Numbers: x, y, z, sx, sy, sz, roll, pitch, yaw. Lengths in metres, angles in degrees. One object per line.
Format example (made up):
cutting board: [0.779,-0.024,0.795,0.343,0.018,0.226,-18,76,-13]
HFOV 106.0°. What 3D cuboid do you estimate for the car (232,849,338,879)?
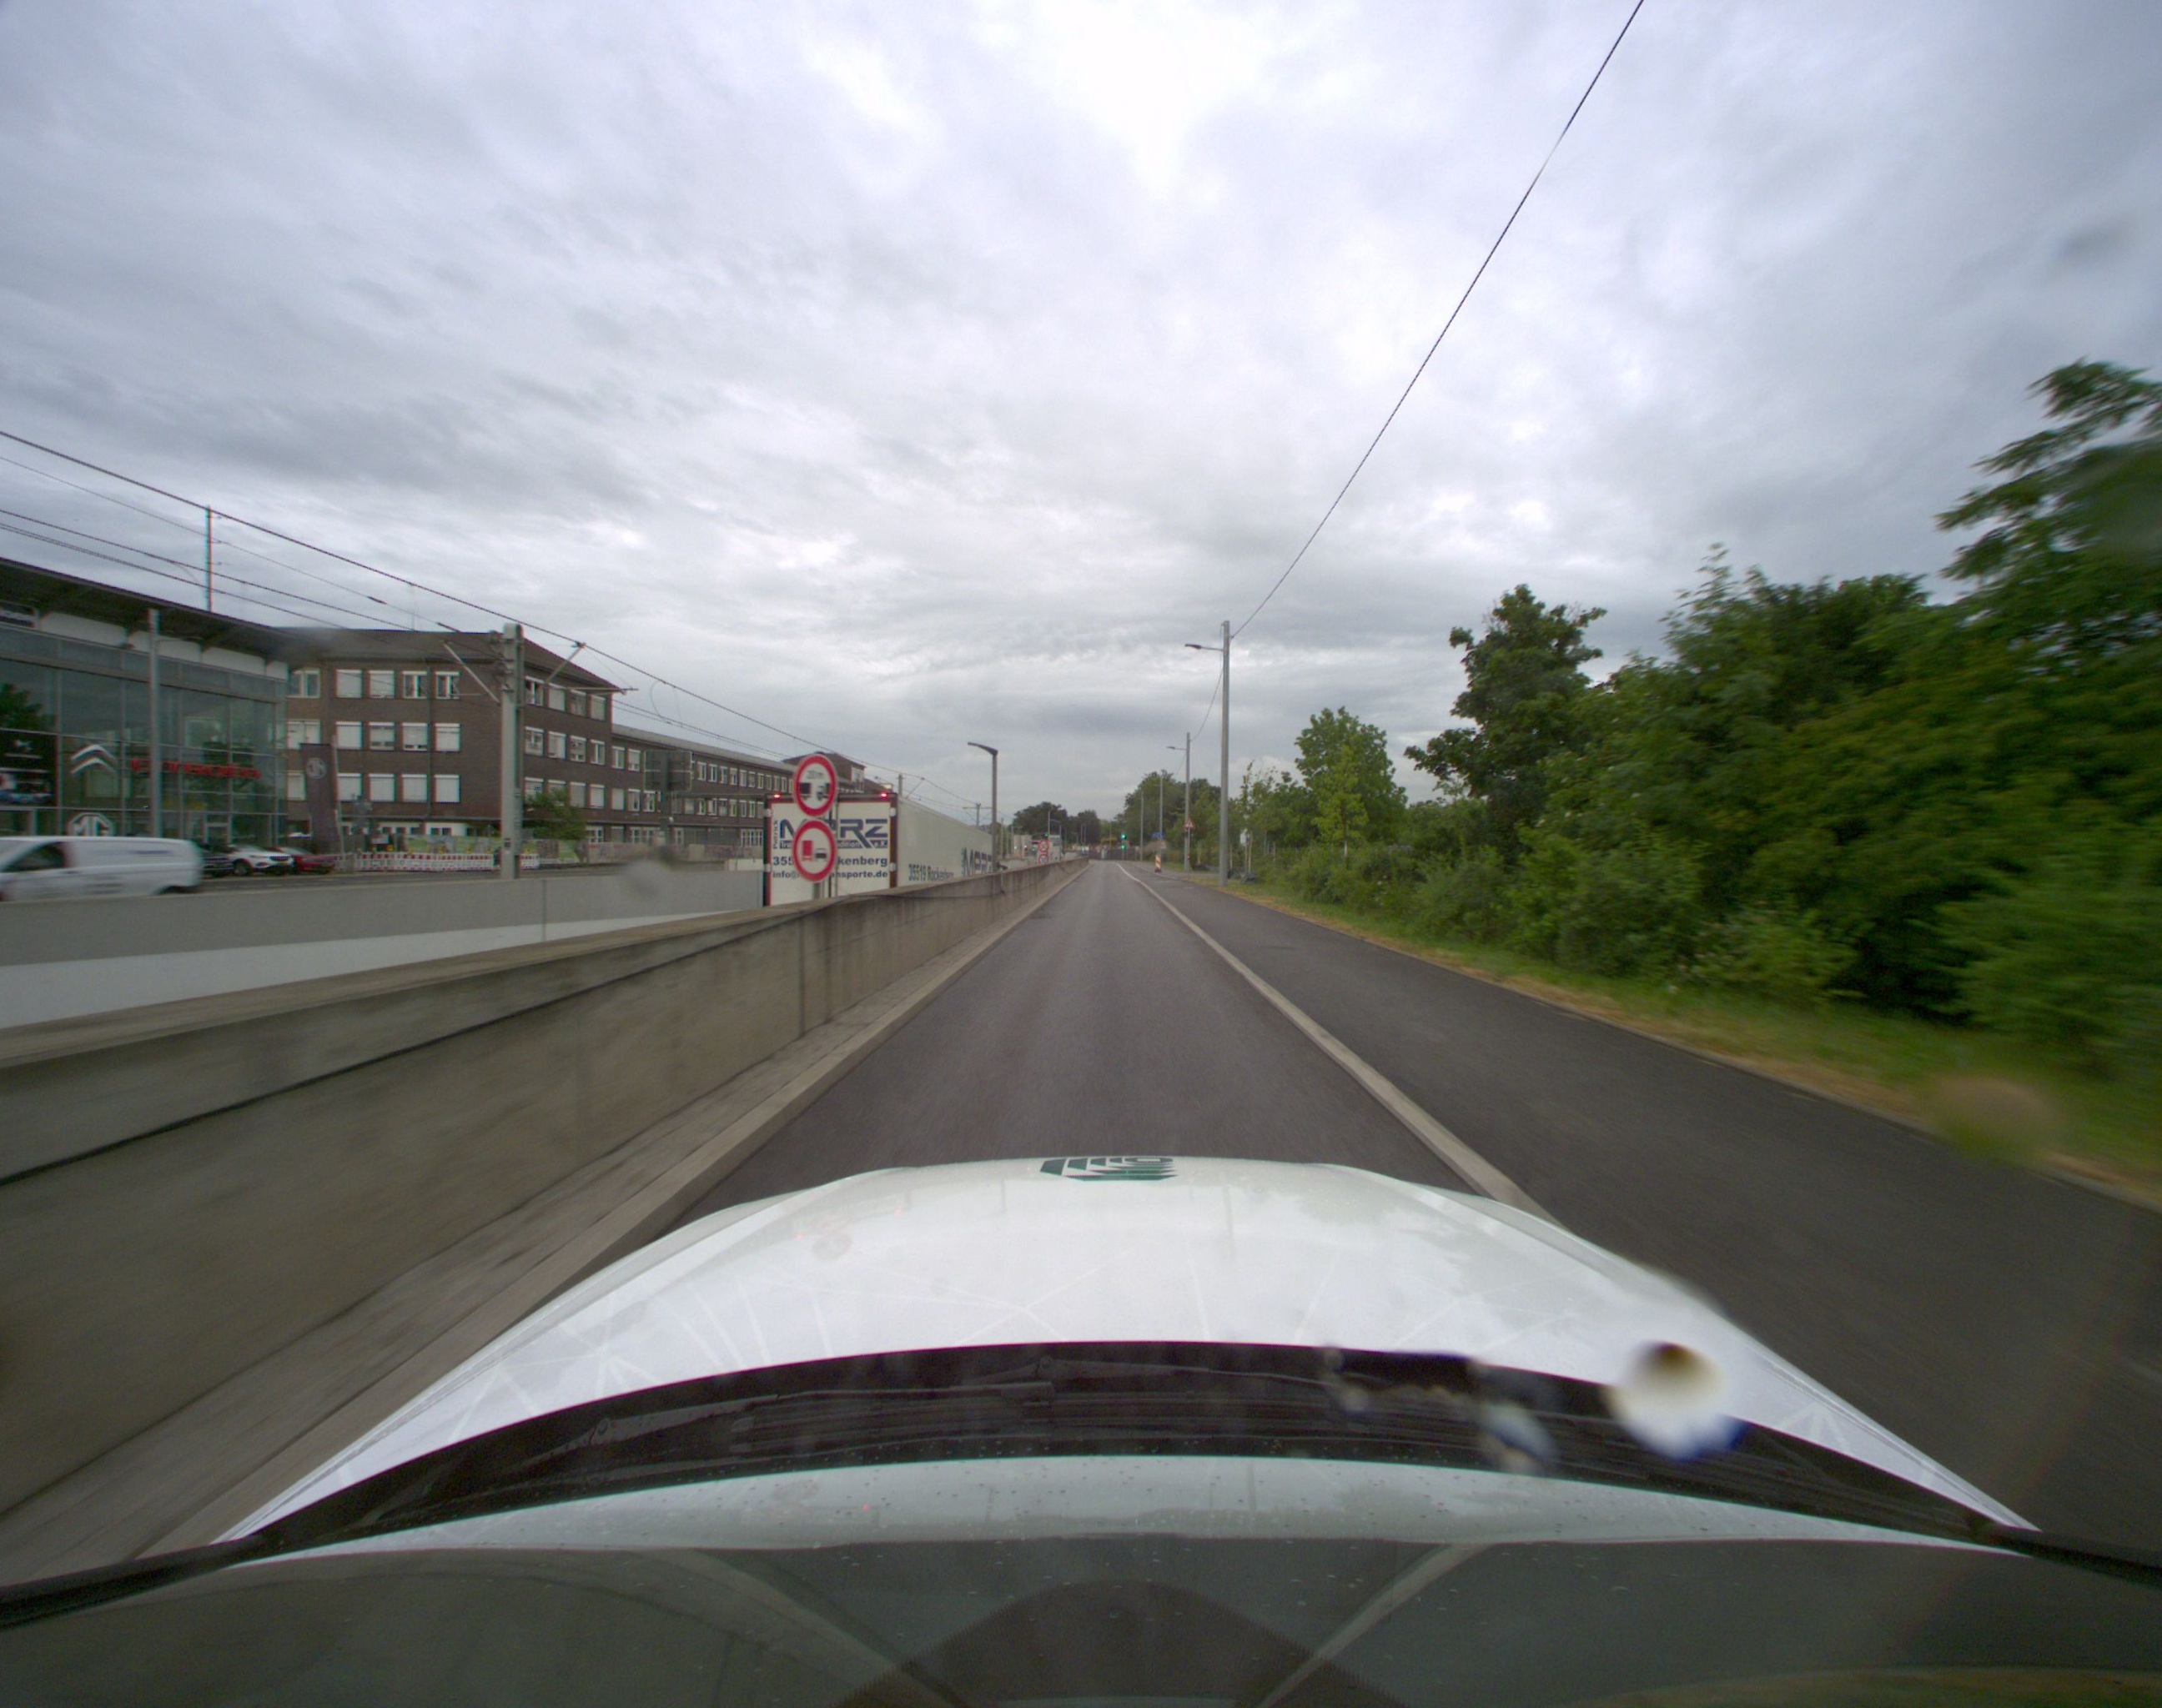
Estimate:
car: [-38.703,0.461,39.665,3.471,1.382,1.617,-1,0,-2]

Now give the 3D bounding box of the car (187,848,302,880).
car: [-38.359,0.456,37.409,3.467,1.397,1.751,0,0,1]

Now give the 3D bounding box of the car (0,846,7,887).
car: [-38.340,0.579,26.852,3.494,1.402,1.573,-5,1,-2]

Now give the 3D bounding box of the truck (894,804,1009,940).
truck: [-4.336,0.560,28.598,2.745,4.205,6.310,-1,0,2]

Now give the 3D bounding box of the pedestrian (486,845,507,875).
pedestrian: [-34.780,0.365,48.457,0.613,1.750,0.840,0,0,2]

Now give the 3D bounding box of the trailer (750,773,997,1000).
trailer: [-4.611,0.589,22.004,2.751,4.252,13.190,-1,0,2]

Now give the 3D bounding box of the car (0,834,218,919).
car: [-22.332,0.432,17.571,1.993,1.695,5.036,0,0,1]
